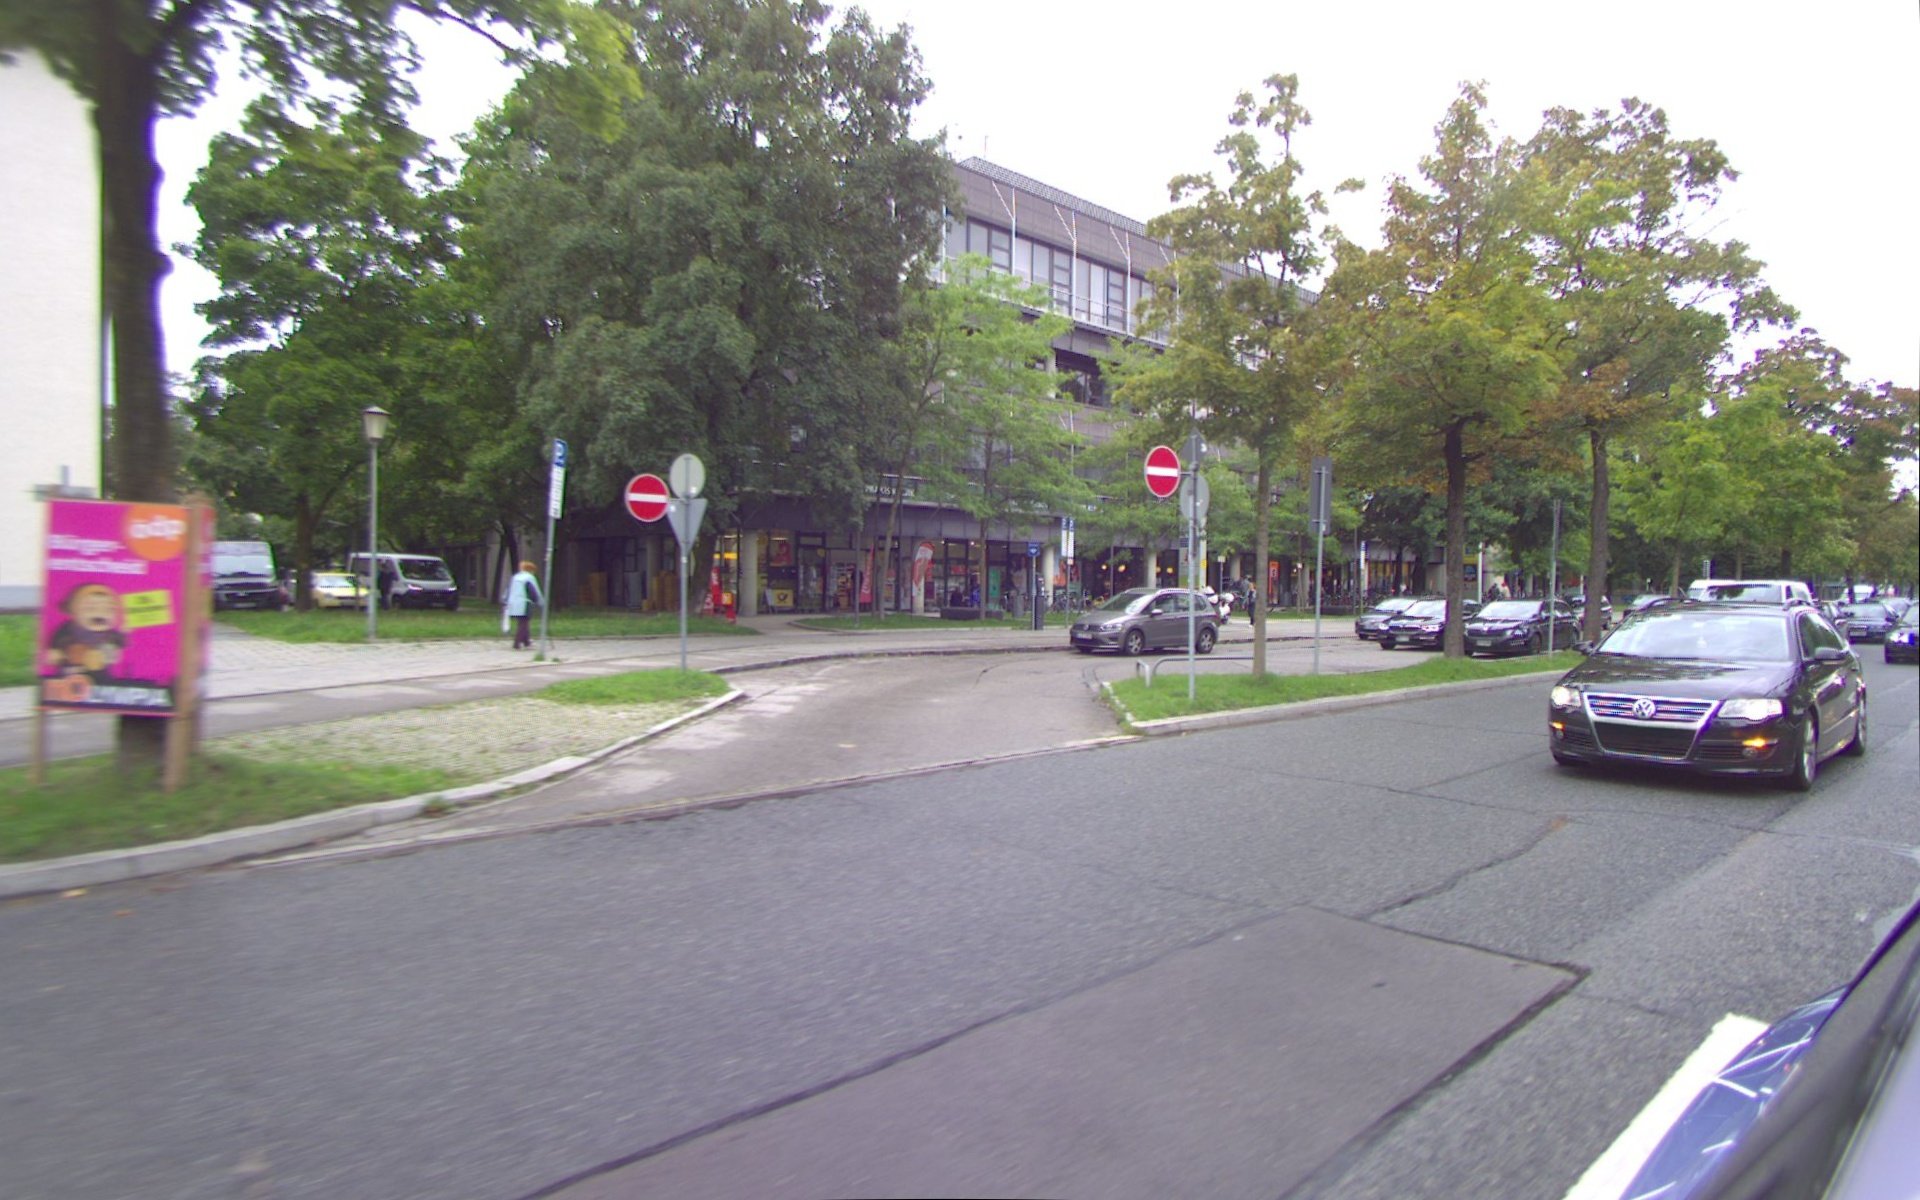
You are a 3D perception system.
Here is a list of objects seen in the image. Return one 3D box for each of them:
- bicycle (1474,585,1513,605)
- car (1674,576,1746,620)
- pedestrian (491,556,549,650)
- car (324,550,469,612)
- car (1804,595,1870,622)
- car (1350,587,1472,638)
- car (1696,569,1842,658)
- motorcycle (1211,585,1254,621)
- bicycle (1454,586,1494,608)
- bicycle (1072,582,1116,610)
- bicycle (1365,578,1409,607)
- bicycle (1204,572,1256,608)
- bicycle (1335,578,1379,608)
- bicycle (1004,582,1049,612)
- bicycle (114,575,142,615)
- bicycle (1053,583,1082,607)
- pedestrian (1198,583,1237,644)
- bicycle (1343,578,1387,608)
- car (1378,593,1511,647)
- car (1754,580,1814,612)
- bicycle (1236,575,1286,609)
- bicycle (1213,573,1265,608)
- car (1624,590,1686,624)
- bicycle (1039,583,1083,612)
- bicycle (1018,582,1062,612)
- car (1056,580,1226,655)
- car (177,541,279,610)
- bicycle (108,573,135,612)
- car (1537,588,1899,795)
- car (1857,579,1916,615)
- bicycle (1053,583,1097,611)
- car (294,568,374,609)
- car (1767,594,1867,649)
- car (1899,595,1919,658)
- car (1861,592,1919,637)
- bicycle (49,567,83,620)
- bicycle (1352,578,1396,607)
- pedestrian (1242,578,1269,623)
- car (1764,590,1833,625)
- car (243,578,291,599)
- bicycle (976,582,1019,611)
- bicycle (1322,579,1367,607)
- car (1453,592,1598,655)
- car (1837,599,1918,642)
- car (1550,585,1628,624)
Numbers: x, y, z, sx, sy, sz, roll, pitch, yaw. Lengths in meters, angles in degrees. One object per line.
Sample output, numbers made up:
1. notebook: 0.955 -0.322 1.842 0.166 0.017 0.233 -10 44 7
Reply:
1. bicycle: 36.423 -0.362 69.108 0.637 1.318 2.313 0 1 -38
2. car: 45.545 -0.140 61.428 5.754 2.560 2.267 0 1 -40
3. pedestrian: -7.597 0.046 17.486 0.571 1.594 0.778 0 0 13
4. car: -20.749 -0.754 37.141 6.074 2.078 2.315 2 2 36
5. car: 45.725 0.411 52.746 4.356 1.363 1.826 0 0 -38
6. car: 15.060 0.369 33.688 4.519 1.550 1.826 0 2 -39
7. car: 19.625 0.300 24.478 4.846 1.952 1.884 0 0 -41
8. motorcycle: 9.911 0.101 36.747 1.914 1.245 0.473 -1 4 -41
9. bicycle: 34.120 -0.207 67.238 0.637 1.365 2.313 0 1 -38
10. bicycle: 5.690 -0.171 43.038 0.447 1.134 2.079 0 1 -40
11. bicycle: 24.961 -0.463 59.175 0.638 1.643 2.312 0 1 -40
12. bicycle: 12.830 -0.491 48.106 2.298 1.643 0.642 1 1 33
13. bicycle: 22.502 -0.426 57.433 0.638 1.643 2.312 0 1 -40
14. bicycle: 2.627 -0.128 40.210 0.447 1.134 2.079 0 1 -40
15. bicycle: -21.298 -0.143 25.897 0.448 0.983 1.693 0 1 -43
16. bicycle: 5.027 -0.235 47.206 1.529 1.134 0.454 0 1 -45
17. pedestrian: 6.947 0.369 27.289 0.738 1.614 0.660 1 1 -22
18. bicycle: 23.189 -0.419 57.993 0.638 1.643 2.312 0 1 -40
19. car: 13.744 0.521 28.620 4.273 1.397 1.726 0 0 -39
20. car: 58.470 -0.277 71.785 5.754 2.130 2.267 0 1 -40
21. bicycle: 14.908 -0.407 50.184 2.298 1.643 0.642 1 1 33
22. bicycle: 13.435 -0.477 48.800 2.298 1.643 0.642 1 1 33
23. car: 36.372 0.342 52.926 4.270 1.654 1.862 0 2 -44
24. bicycle: 4.101 -0.094 41.287 0.447 1.134 2.079 0 1 -40
25. bicycle: 3.209 -0.129 40.771 0.447 1.134 2.079 0 1 -40
26. car: 4.476 0.377 24.797 4.121 1.654 1.827 0 2 -38
27. car: -23.776 -0.824 32.749 2.304 2.024 6.105 0 2 -40
28. bicycle: -22.522 -0.209 27.182 0.448 0.983 1.693 0 1 -43
29. car: 7.015 0.642 9.183 4.364 1.451 1.734 0 0 -41
30. car: 72.634 -0.230 79.302 5.888 2.691 1.980 0 -1 -33
31. bicycle: 4.787 -0.131 42.180 0.447 1.134 2.079 0 1 -40
32. car: -20.832 -0.405 33.617 1.559 1.216 3.742 1 1 -43
33. car: 24.477 0.581 28.862 3.973 1.467 1.698 0 -1 -43
34. car: 23.720 0.592 23.974 4.385 1.431 1.761 0 0 -42
35. car: 36.078 0.548 38.800 4.386 1.662 1.684 0 -2 -41
36. bicycle: -17.656 -0.144 19.983 0.448 0.983 1.693 0 1 -43
37. bicycle: 23.914 -0.460 58.512 0.638 1.643 2.312 0 1 -40
38. pedestrian: 10.565 0.017 36.136 0.658 1.561 0.622 4 3 42
39. car: 39.718 0.339 47.910 4.791 1.611 1.824 0 0 -42
40. car: -43.564 -0.722 63.615 3.733 1.216 1.562 3 1 40
41. bicycle: 1.470 -0.153 40.063 0.447 1.134 2.079 0 1 -40
42. bicycle: 21.563 -0.417 56.751 0.638 1.551 2.312 0 1 -40
43. car: 14.263 0.521 25.405 4.609 1.450 1.730 0 0 -41
44. car: 31.908 0.670 35.168 4.011 1.392 1.684 0 0 -42
45. car: 28.622 0.178 45.993 4.422 1.654 1.825 0 2 -41
